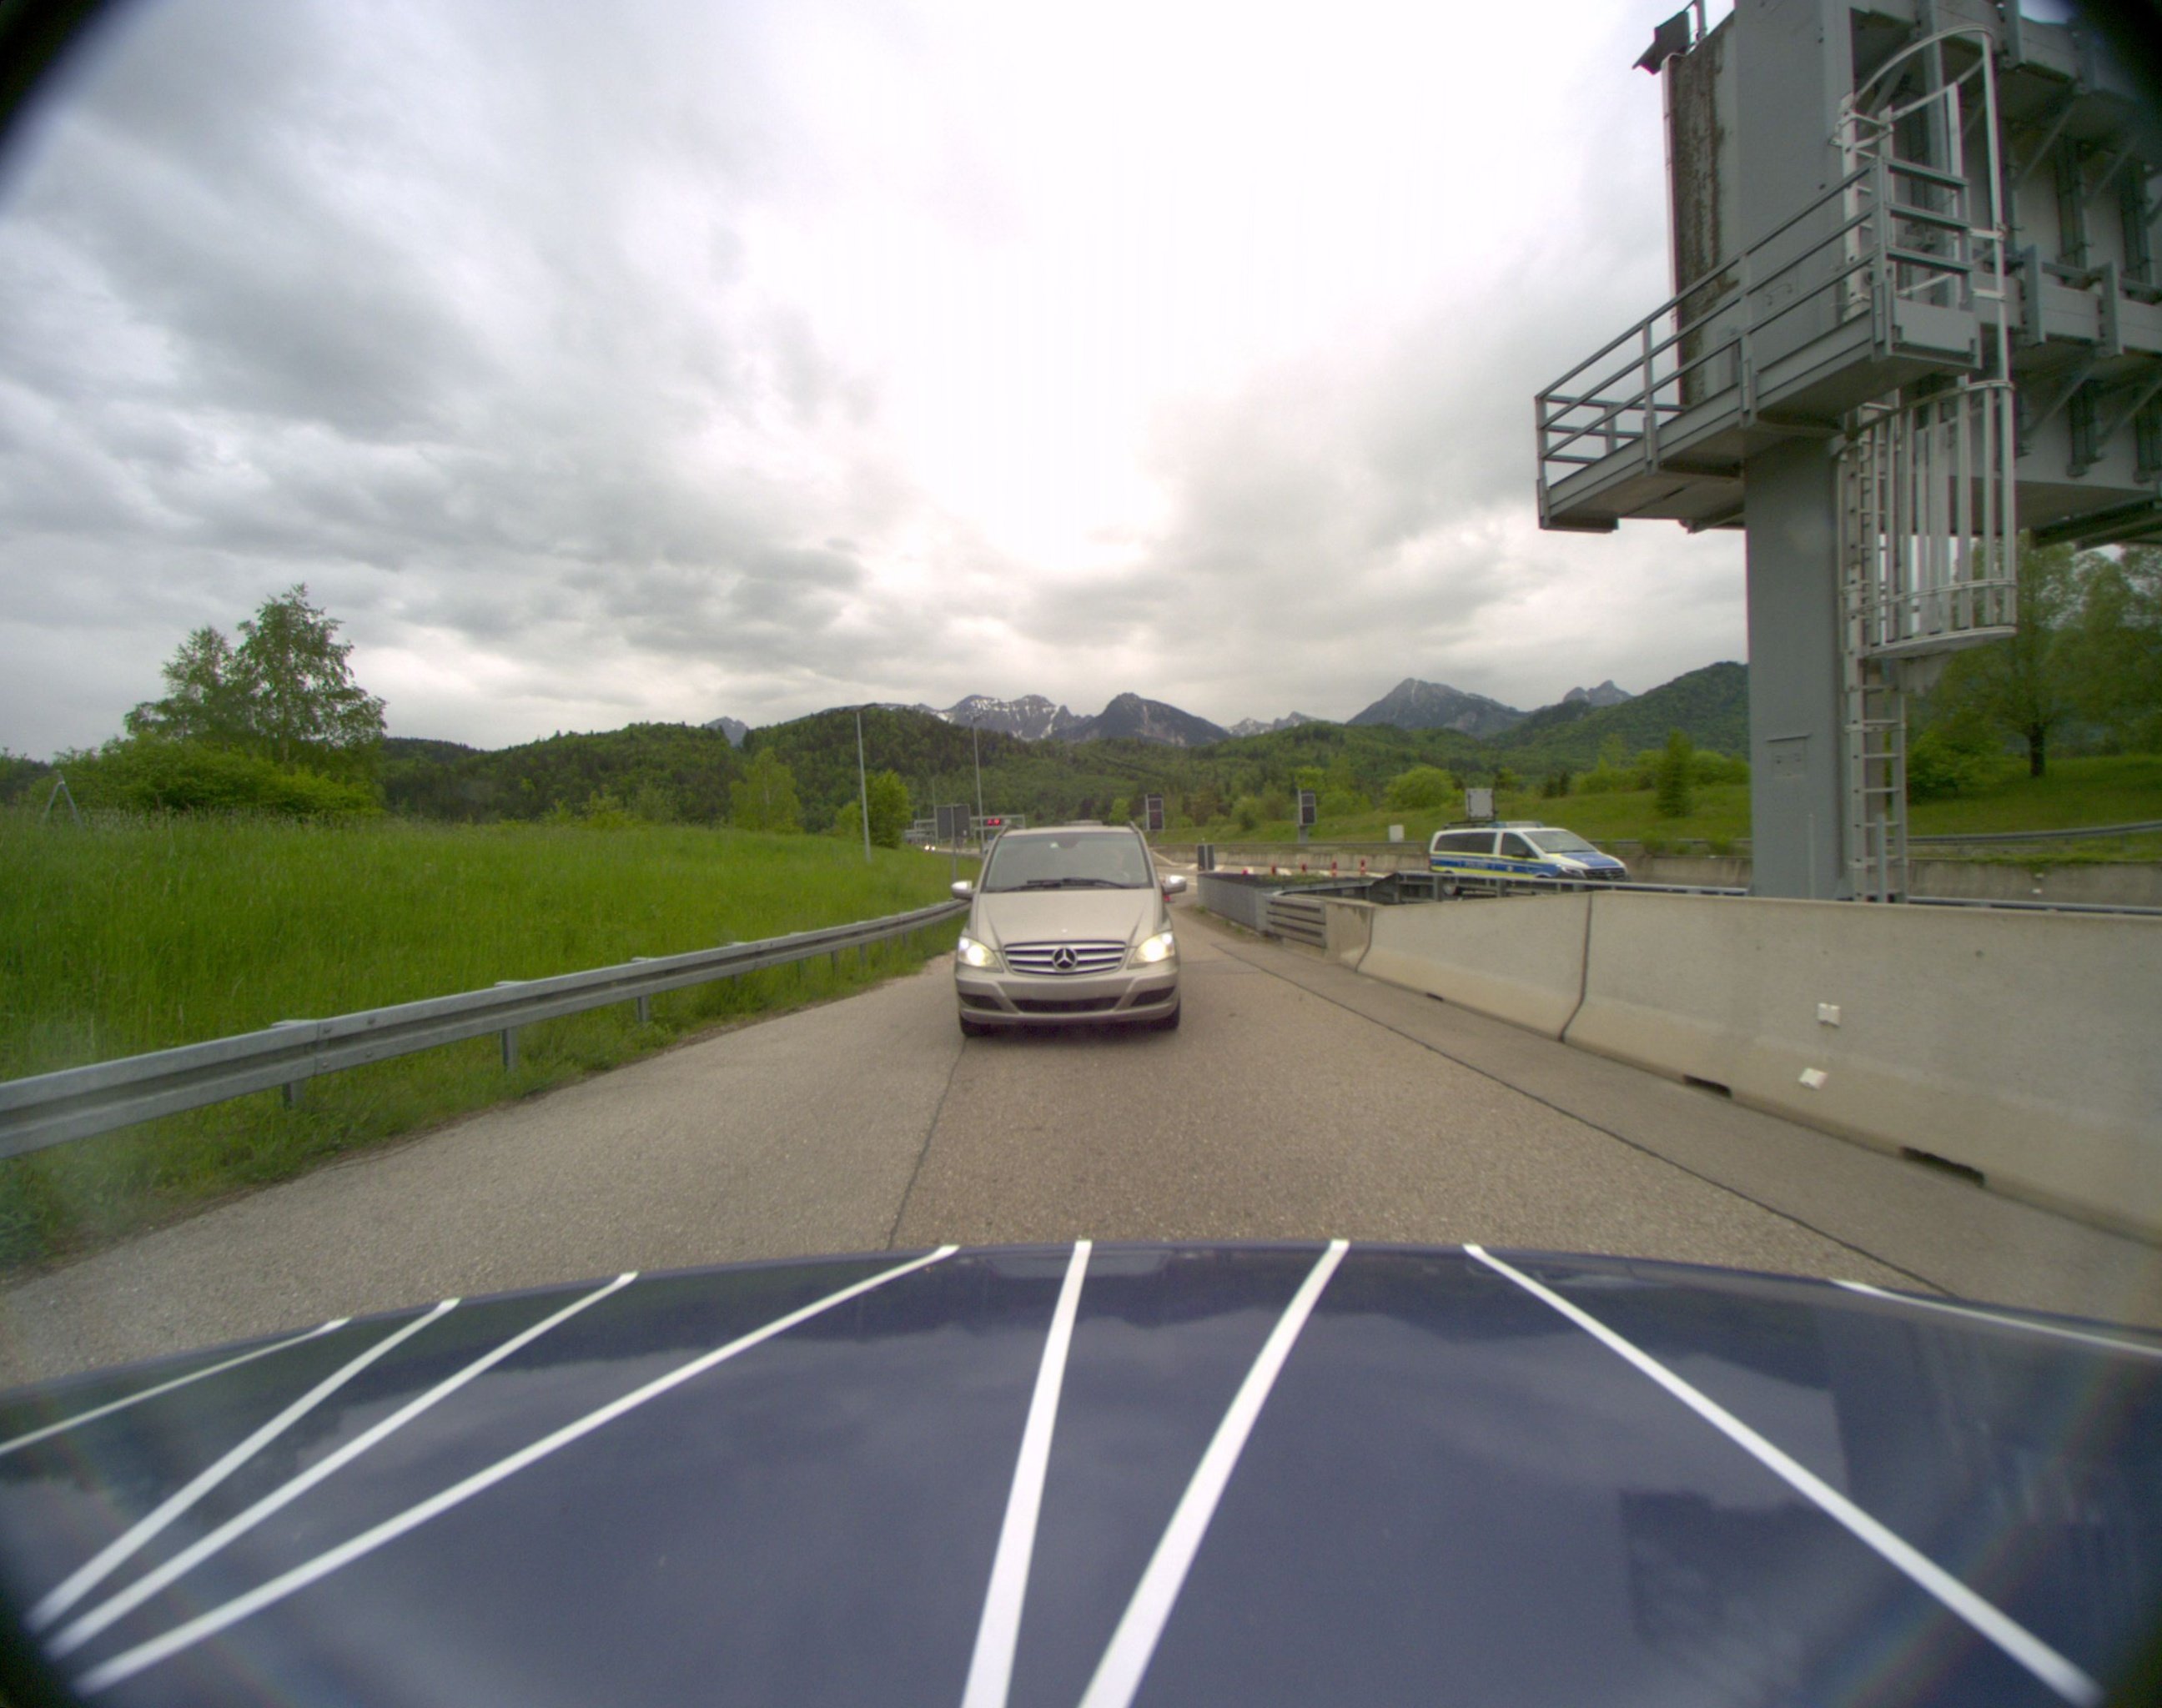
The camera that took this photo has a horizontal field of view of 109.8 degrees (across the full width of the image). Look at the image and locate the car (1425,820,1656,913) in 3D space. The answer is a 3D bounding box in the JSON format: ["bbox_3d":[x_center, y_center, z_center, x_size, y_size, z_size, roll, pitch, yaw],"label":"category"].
[{"bbox_3d":[11.326,0.227,19.271,2.106,2.002,5.045,-2,1,-13],"label":"car"}]

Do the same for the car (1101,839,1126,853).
[{"bbox_3d":[4.469,-1.092,104.803,1.992,1.944,5.102,-1,1,-15],"label":"car"}]

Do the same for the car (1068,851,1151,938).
[{"bbox_3d":[0.600,0.795,16.936,1.591,1.662,4.000,-1,0,1],"label":"car"}]

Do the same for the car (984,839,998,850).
[{"bbox_3d":[-14.693,-1.558,124.092,1.722,1.629,4.342,-1,1,-13],"label":"car"}]

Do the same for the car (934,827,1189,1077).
[{"bbox_3d":[-0.110,0.687,8.462,1.862,1.834,5.616,-1,1,1],"label":"car"}]

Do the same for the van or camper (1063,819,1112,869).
[{"bbox_3d":[0.357,-0.749,55.442,2.584,3.372,7.349,-2,1,-7],"label":"van or camper"}]
